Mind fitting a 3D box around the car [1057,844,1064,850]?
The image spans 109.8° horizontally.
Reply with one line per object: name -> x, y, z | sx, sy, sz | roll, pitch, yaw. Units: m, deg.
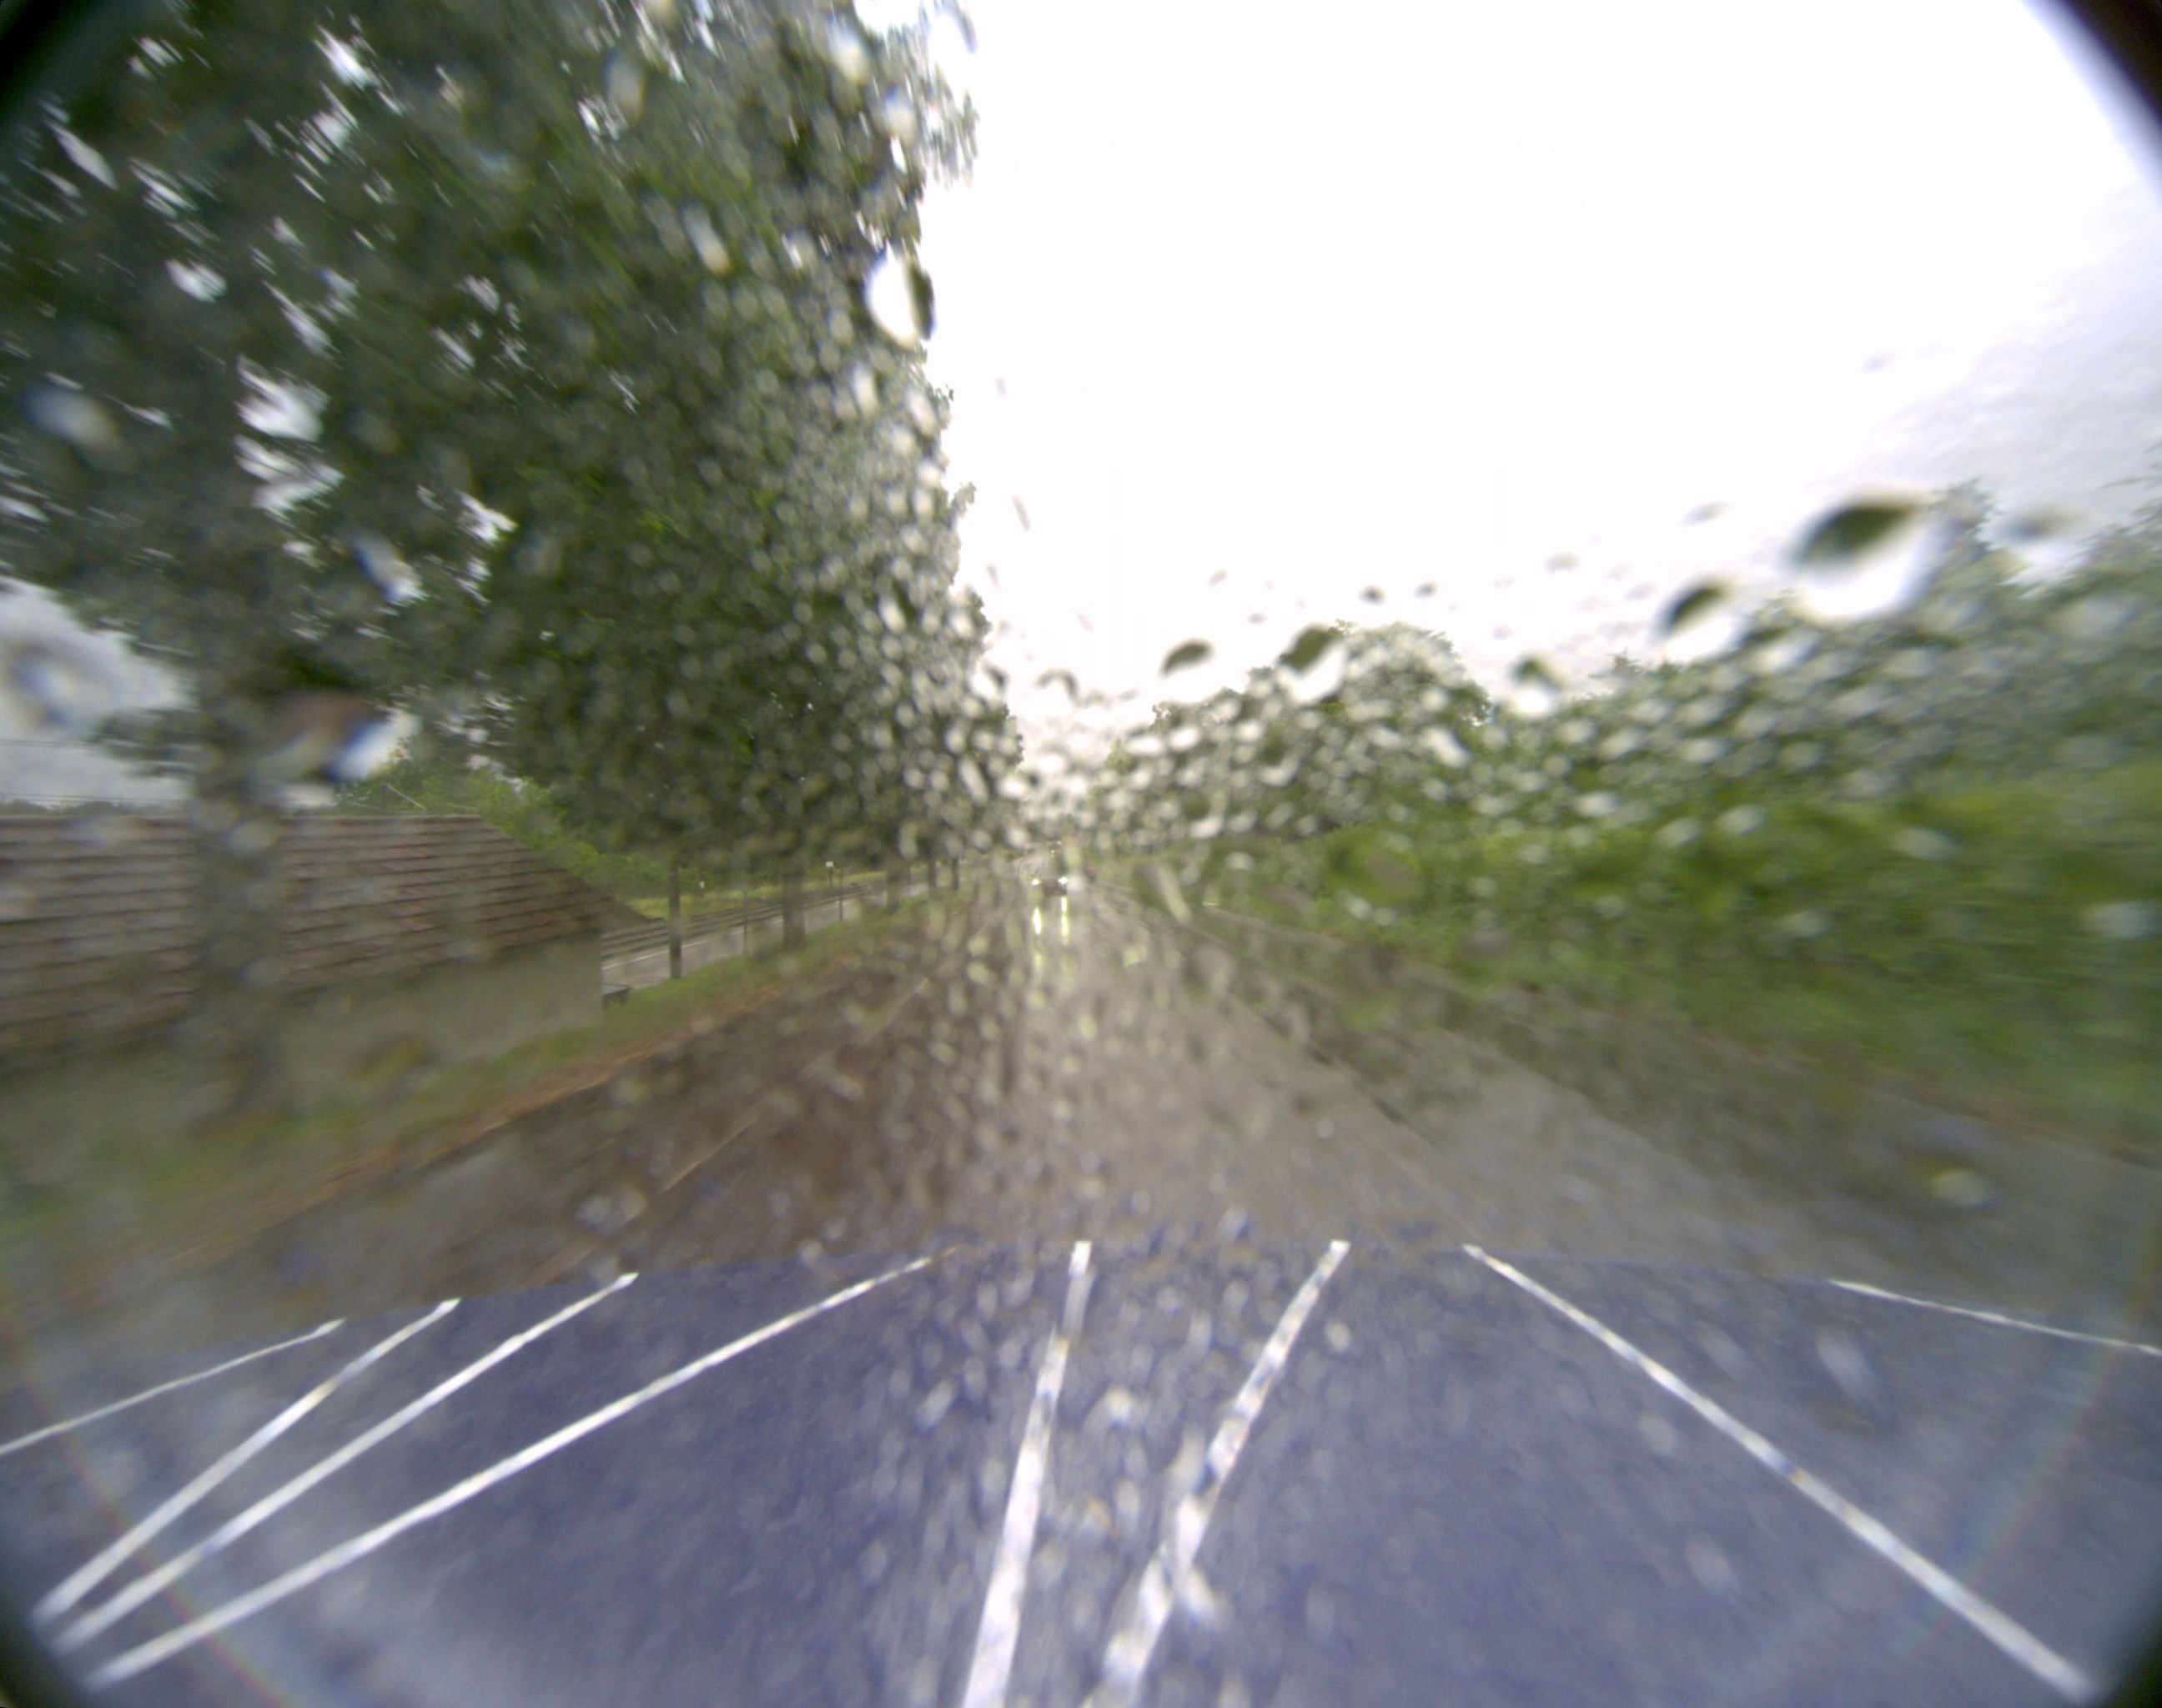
car -> -5.889, -2.003, 216.579 | 1.765, 1.611, 3.788 | 1, 1, -5

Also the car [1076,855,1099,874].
car -> 0.521, 0.854, 63.065 | 1.786, 1.495, 4.000 | 0, -1, -2

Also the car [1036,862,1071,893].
car -> -1.440, 1.213, 40.975 | 1.765, 1.477, 3.790 | 1, 1, -1
